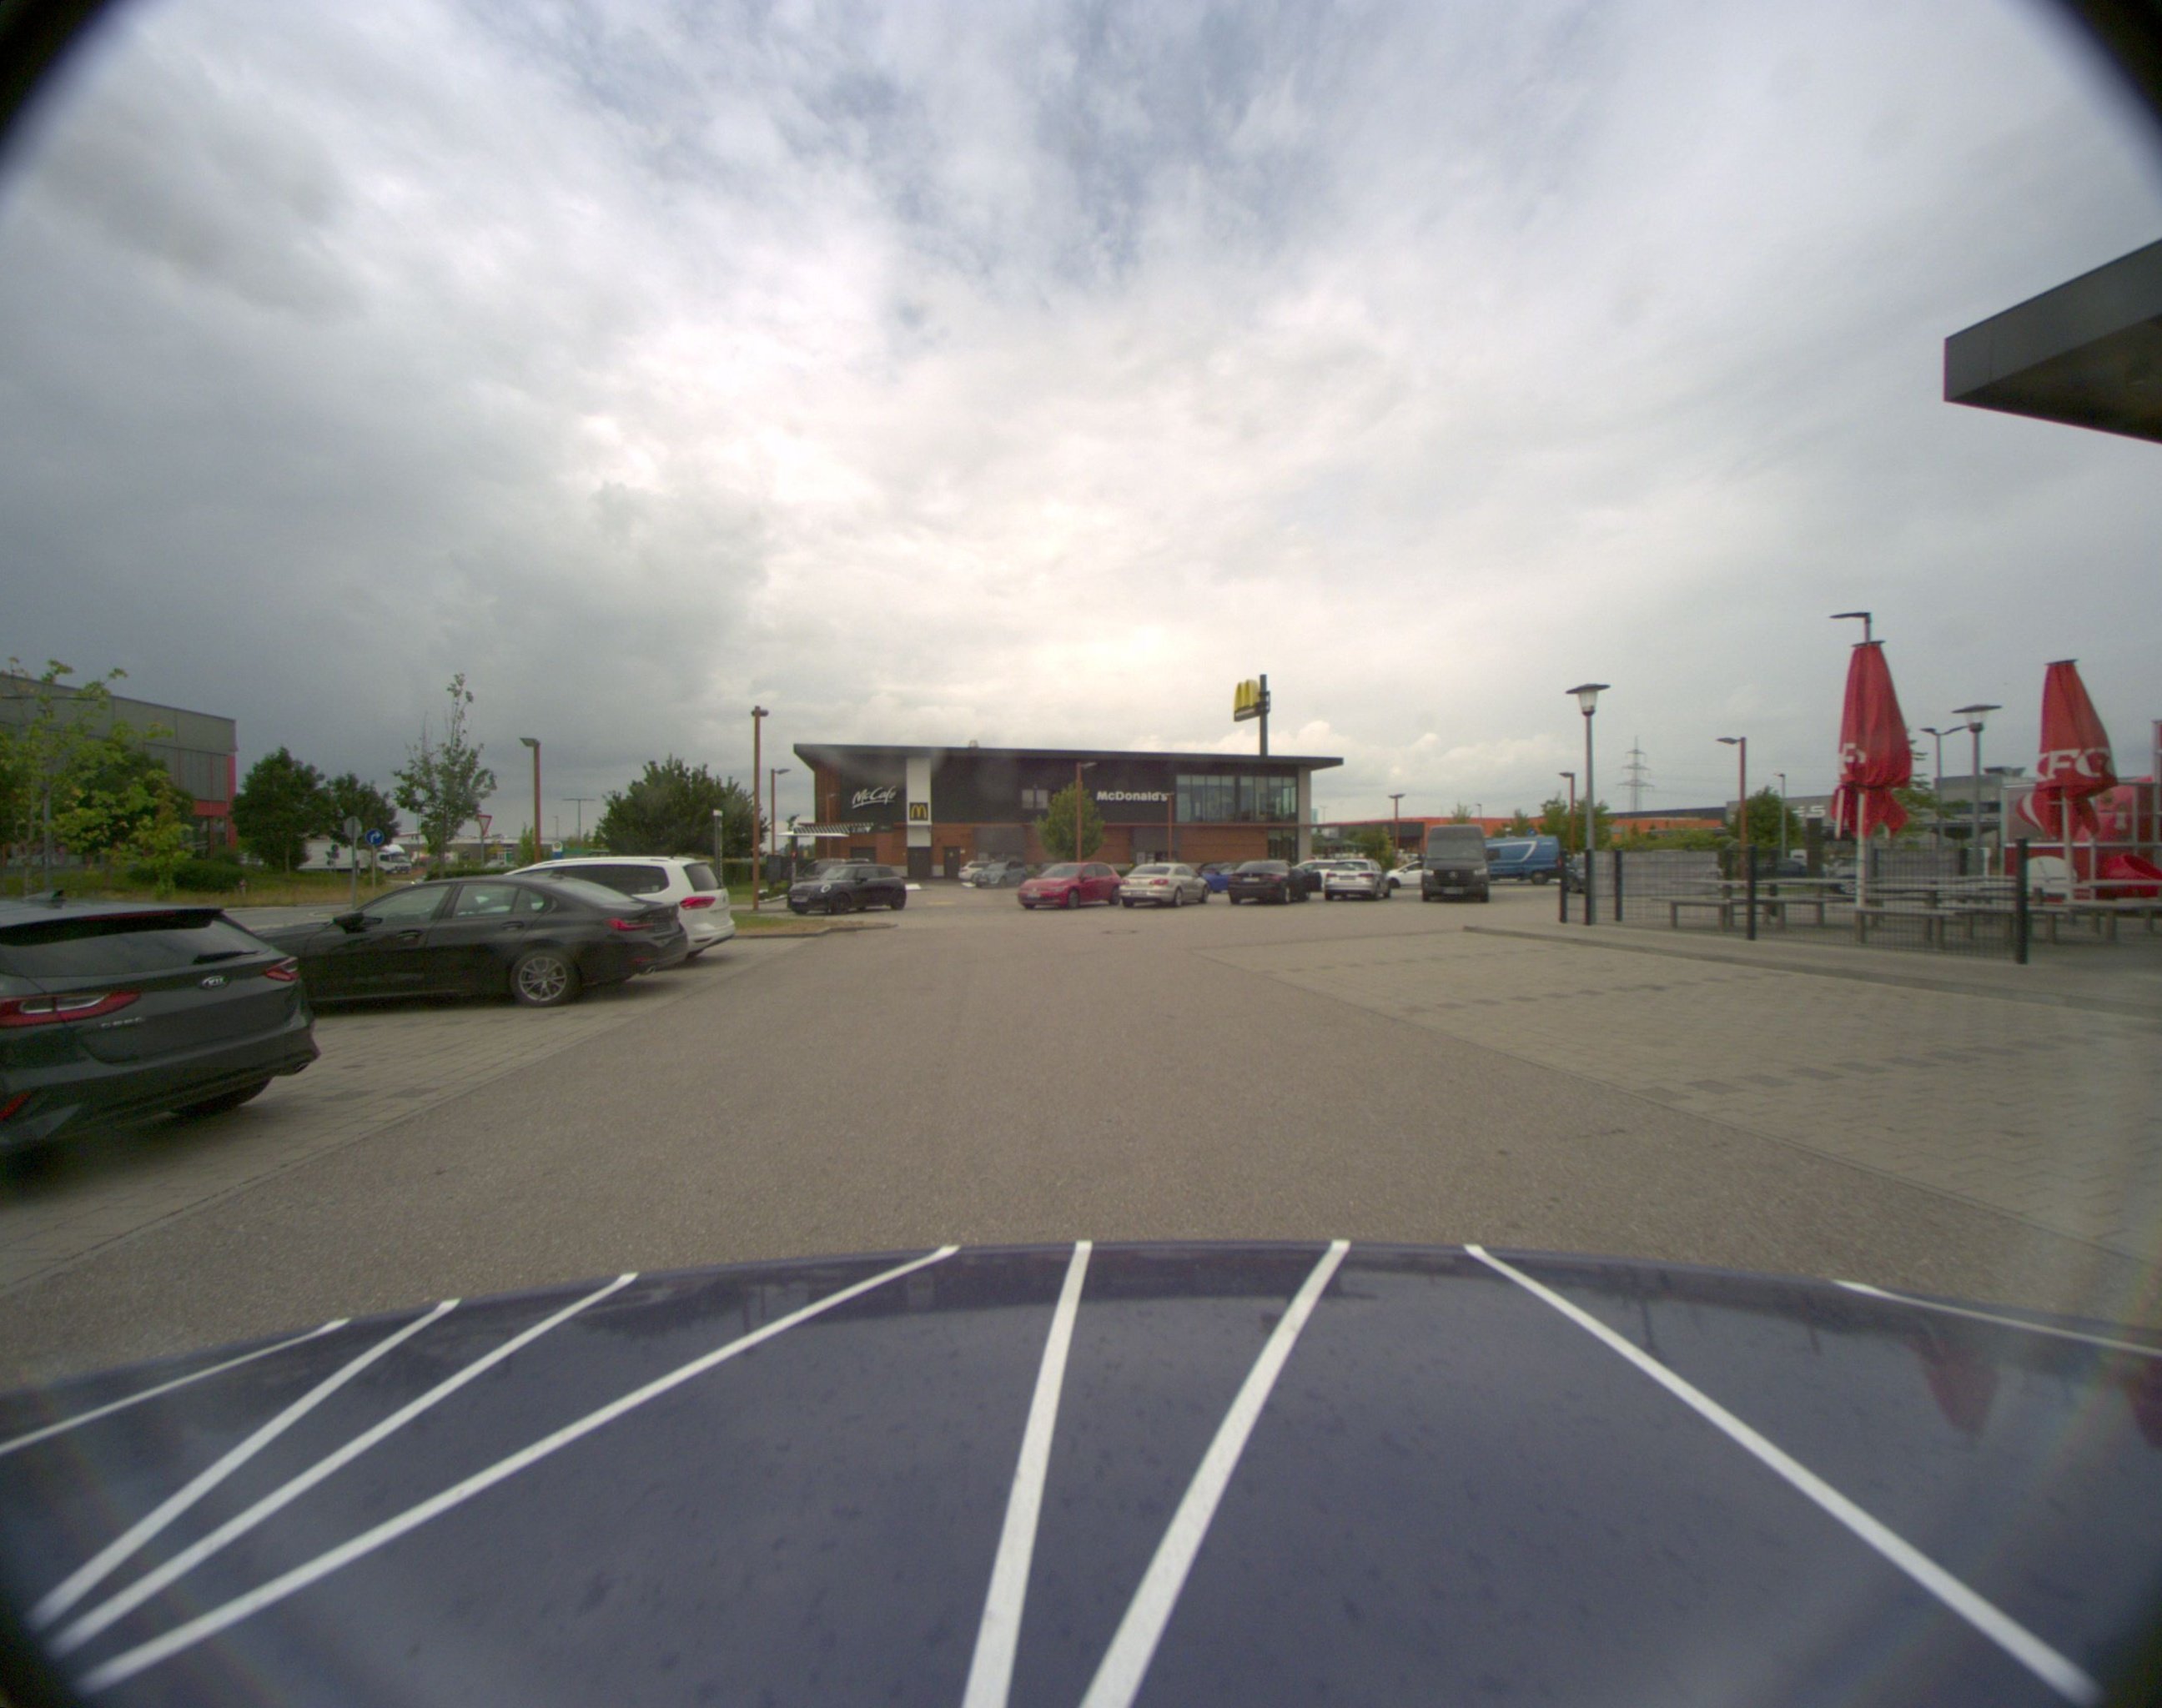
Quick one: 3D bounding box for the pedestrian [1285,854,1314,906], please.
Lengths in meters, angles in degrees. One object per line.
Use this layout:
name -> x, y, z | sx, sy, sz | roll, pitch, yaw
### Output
pedestrian -> 7.275, 0.853, 25.287 | 0.747, 1.668, 0.844 | 1, 0, 28

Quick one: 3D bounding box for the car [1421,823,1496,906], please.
car -> 13.337, 0.383, 26.871 | 2.068, 2.538, 7.027 | -1, -1, 26

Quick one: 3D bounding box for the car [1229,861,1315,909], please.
car -> 6.488, 0.974, 25.466 | 1.683, 1.454, 4.416 | -1, -1, 29

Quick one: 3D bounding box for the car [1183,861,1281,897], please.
car -> 6.926, 1.105, 34.962 | 3.988, 1.501, 1.773 | 1, 0, 32

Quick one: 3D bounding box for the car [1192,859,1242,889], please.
car -> 8.695, 1.227, 48.303 | 1.893, 1.653, 4.266 | 1, 2, 27

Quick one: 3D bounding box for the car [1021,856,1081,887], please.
car -> -1.742, 1.065, 45.702 | 1.995, 1.739, 4.008 | 1, -1, 23

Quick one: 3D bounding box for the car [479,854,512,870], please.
car -> -63.970, 0.864, 82.972 | 3.988, 1.696, 2.004 | 2, 1, 39

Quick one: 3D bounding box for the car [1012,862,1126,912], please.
car -> -0.291, 0.993, 24.212 | 1.683, 1.455, 4.009 | -1, -1, 32

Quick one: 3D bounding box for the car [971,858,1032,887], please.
car -> -4.694, 1.066, 45.285 | 1.745, 1.575, 3.912 | 1, 0, 27

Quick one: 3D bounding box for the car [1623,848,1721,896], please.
car -> 23.442, 0.673, 30.375 | 1.995, 1.717, 4.906 | 1, 0, 25

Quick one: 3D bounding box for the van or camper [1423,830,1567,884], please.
van or camper -> 22.172, 0.230, 40.900 | 6.555, 2.684, 2.177 | -2, -1, 35

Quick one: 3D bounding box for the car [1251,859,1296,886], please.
car -> 12.697, 1.185, 50.045 | 1.785, 1.478, 4.007 | 2, 3, 31

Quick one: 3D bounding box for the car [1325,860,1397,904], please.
car -> 9.982, 0.936, 26.956 | 1.683, 1.442, 4.008 | -1, -1, 31

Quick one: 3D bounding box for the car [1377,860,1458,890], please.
car -> 16.926, 1.033, 38.177 | 3.564, 1.445, 1.846 | -1, -1, 29

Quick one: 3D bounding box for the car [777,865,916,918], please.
car -> -6.843, 1.050, 22.575 | 1.683, 1.403, 3.938 | -1, -1, 27

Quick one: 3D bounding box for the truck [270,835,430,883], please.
truck -> -73.011, 0.490, 76.092 | 11.991, 4.472, 3.766 | 1, 0, -3

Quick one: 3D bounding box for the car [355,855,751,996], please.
car -> -7.546, 0.954, 11.368 | 4.372, 1.703, 1.991 | -2, 0, -9

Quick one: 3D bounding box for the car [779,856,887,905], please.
car -> -9.670, 0.978, 29.584 | 4.178, 1.680, 1.815 | 1, 0, 35

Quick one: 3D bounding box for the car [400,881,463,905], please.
car -> -43.665, 2.611, 51.188 | 1.756, 1.482, 4.124 | 0, -1, -18

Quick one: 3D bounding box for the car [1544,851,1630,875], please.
car -> 35.276, 0.606, 53.157 | 2.074, 1.593, 4.938 | 0, 1, -13

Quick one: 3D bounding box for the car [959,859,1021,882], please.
car -> -6.310, 1.110, 52.623 | 4.002, 1.497, 1.786 | 1, 0, -14

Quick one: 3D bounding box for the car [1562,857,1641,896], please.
car -> 20.309, 0.859, 29.809 | 1.828, 1.403, 4.007 | -1, 0, 24

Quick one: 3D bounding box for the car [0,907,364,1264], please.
car -> -6.711, 1.120, 3.846 | 4.070, 1.404, 1.887 | -2, 0, -9

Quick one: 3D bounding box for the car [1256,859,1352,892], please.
car -> 10.545, 1.018, 35.953 | 4.100, 1.458, 1.784 | 0, -2, 27

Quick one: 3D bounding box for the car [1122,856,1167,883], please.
car -> 4.287, 1.020, 52.068 | 1.754, 1.743, 3.994 | 1, 0, -15

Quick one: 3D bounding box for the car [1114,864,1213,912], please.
car -> 2.789, 1.045, 24.647 | 1.749, 1.403, 4.468 | -1, -1, 26

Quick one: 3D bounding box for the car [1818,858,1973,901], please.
car -> 28.949, 0.860, 27.173 | 3.517, 1.368, 1.613 | 1, 0, 36

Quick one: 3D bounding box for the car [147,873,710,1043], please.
car -> -7.040, 1.051, 8.768 | 4.516, 1.458, 1.946 | -2, 0, -9

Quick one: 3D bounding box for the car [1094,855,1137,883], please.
car -> 2.310, 0.979, 51.468 | 1.754, 1.743, 3.994 | 1, 0, -15
